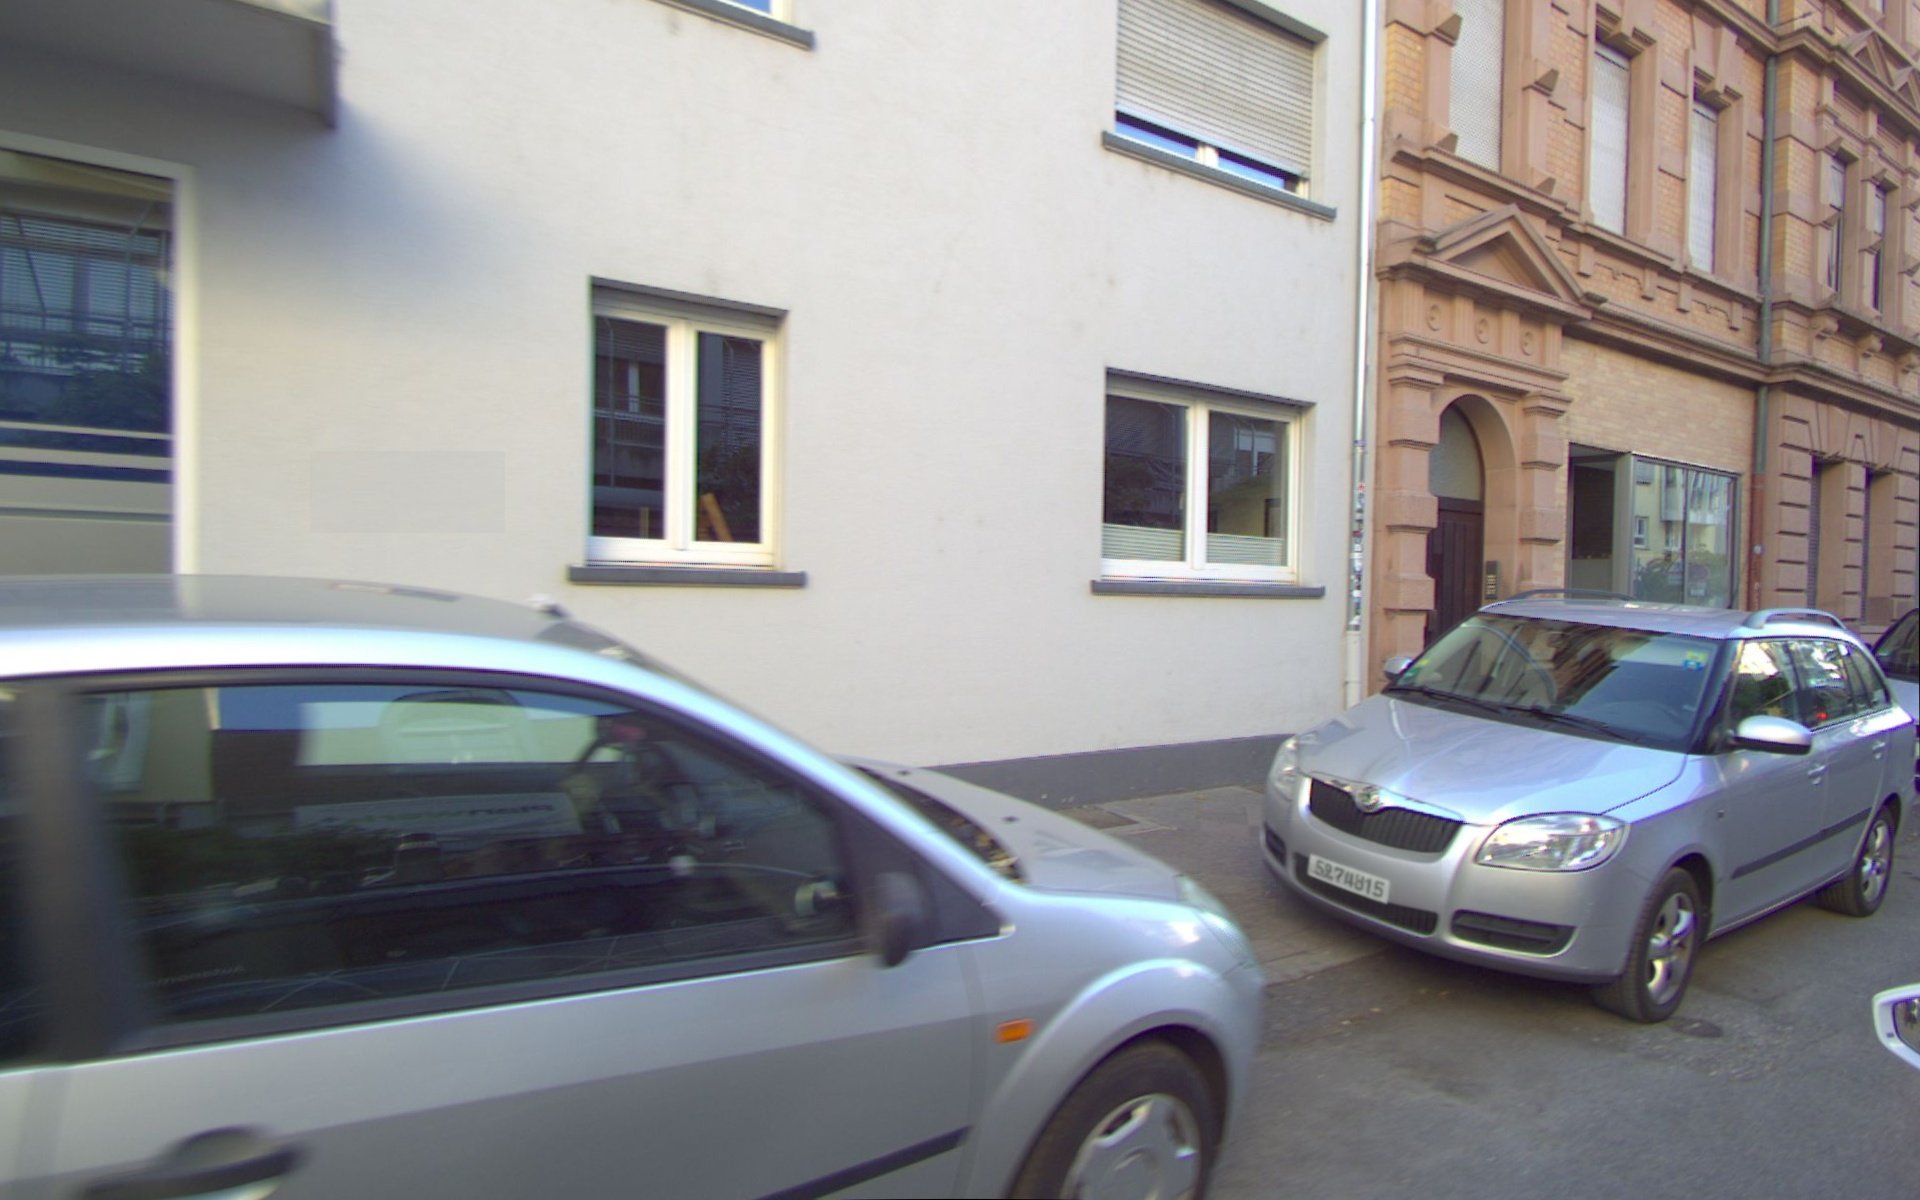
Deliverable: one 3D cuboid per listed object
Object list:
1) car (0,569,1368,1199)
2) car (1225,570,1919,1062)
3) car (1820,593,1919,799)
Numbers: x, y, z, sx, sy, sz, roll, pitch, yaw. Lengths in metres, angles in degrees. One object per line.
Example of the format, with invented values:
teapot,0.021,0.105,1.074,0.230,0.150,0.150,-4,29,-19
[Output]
car,-0.926,0.686,2.114,3.518,1.449,1.622,1,1,-35
car,3.117,0.694,4.850,3.560,1.529,1.545,1,3,-34
car,8.837,0.789,8.640,2.763,1.610,1.387,0,3,-33
